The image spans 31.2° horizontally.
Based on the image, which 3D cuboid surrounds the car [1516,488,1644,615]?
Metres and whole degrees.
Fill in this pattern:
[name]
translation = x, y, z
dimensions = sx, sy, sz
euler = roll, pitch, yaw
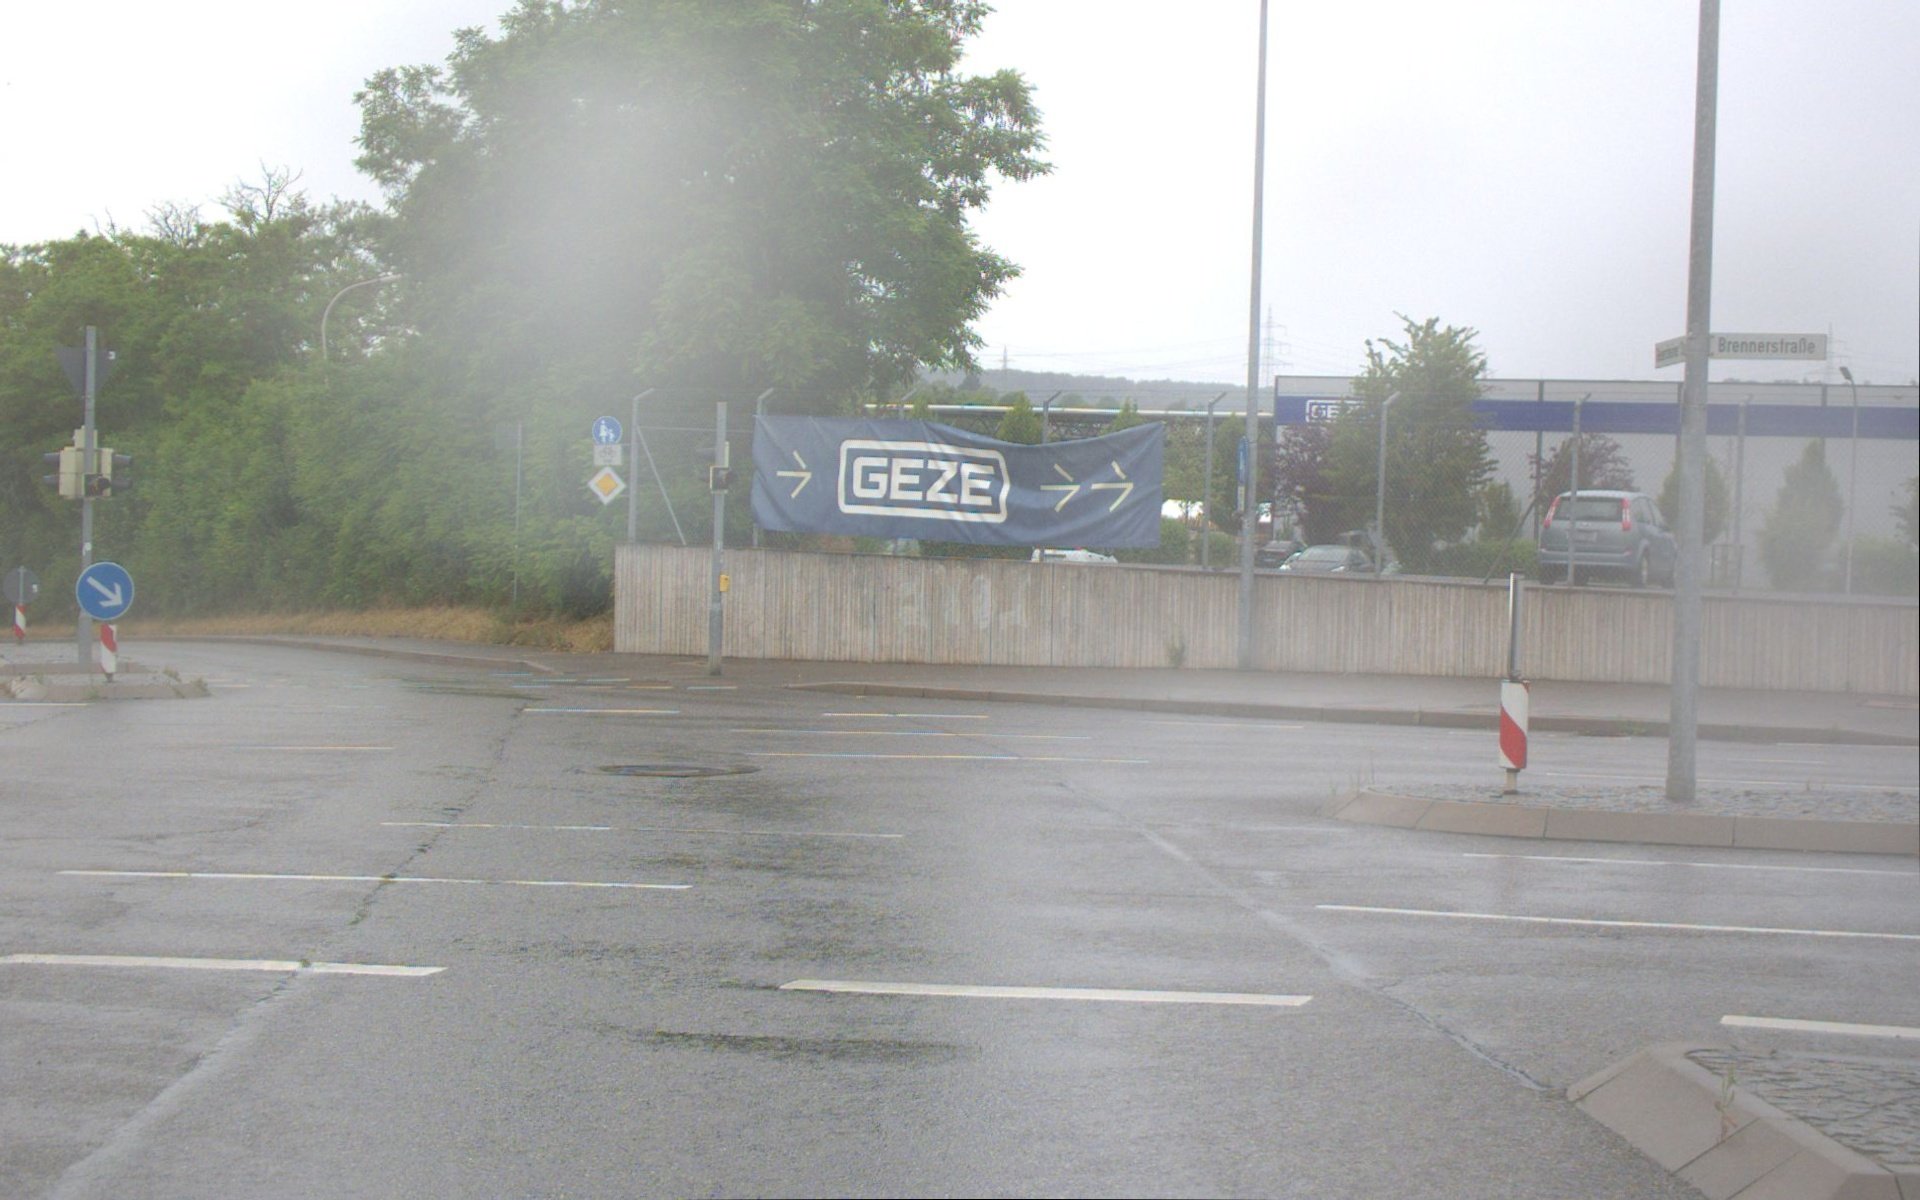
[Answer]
[car]
translation = 10.438, -0.819, 57.702
dimensions = 1.994, 2.007, 3.998
euler = 1, 1, 11
